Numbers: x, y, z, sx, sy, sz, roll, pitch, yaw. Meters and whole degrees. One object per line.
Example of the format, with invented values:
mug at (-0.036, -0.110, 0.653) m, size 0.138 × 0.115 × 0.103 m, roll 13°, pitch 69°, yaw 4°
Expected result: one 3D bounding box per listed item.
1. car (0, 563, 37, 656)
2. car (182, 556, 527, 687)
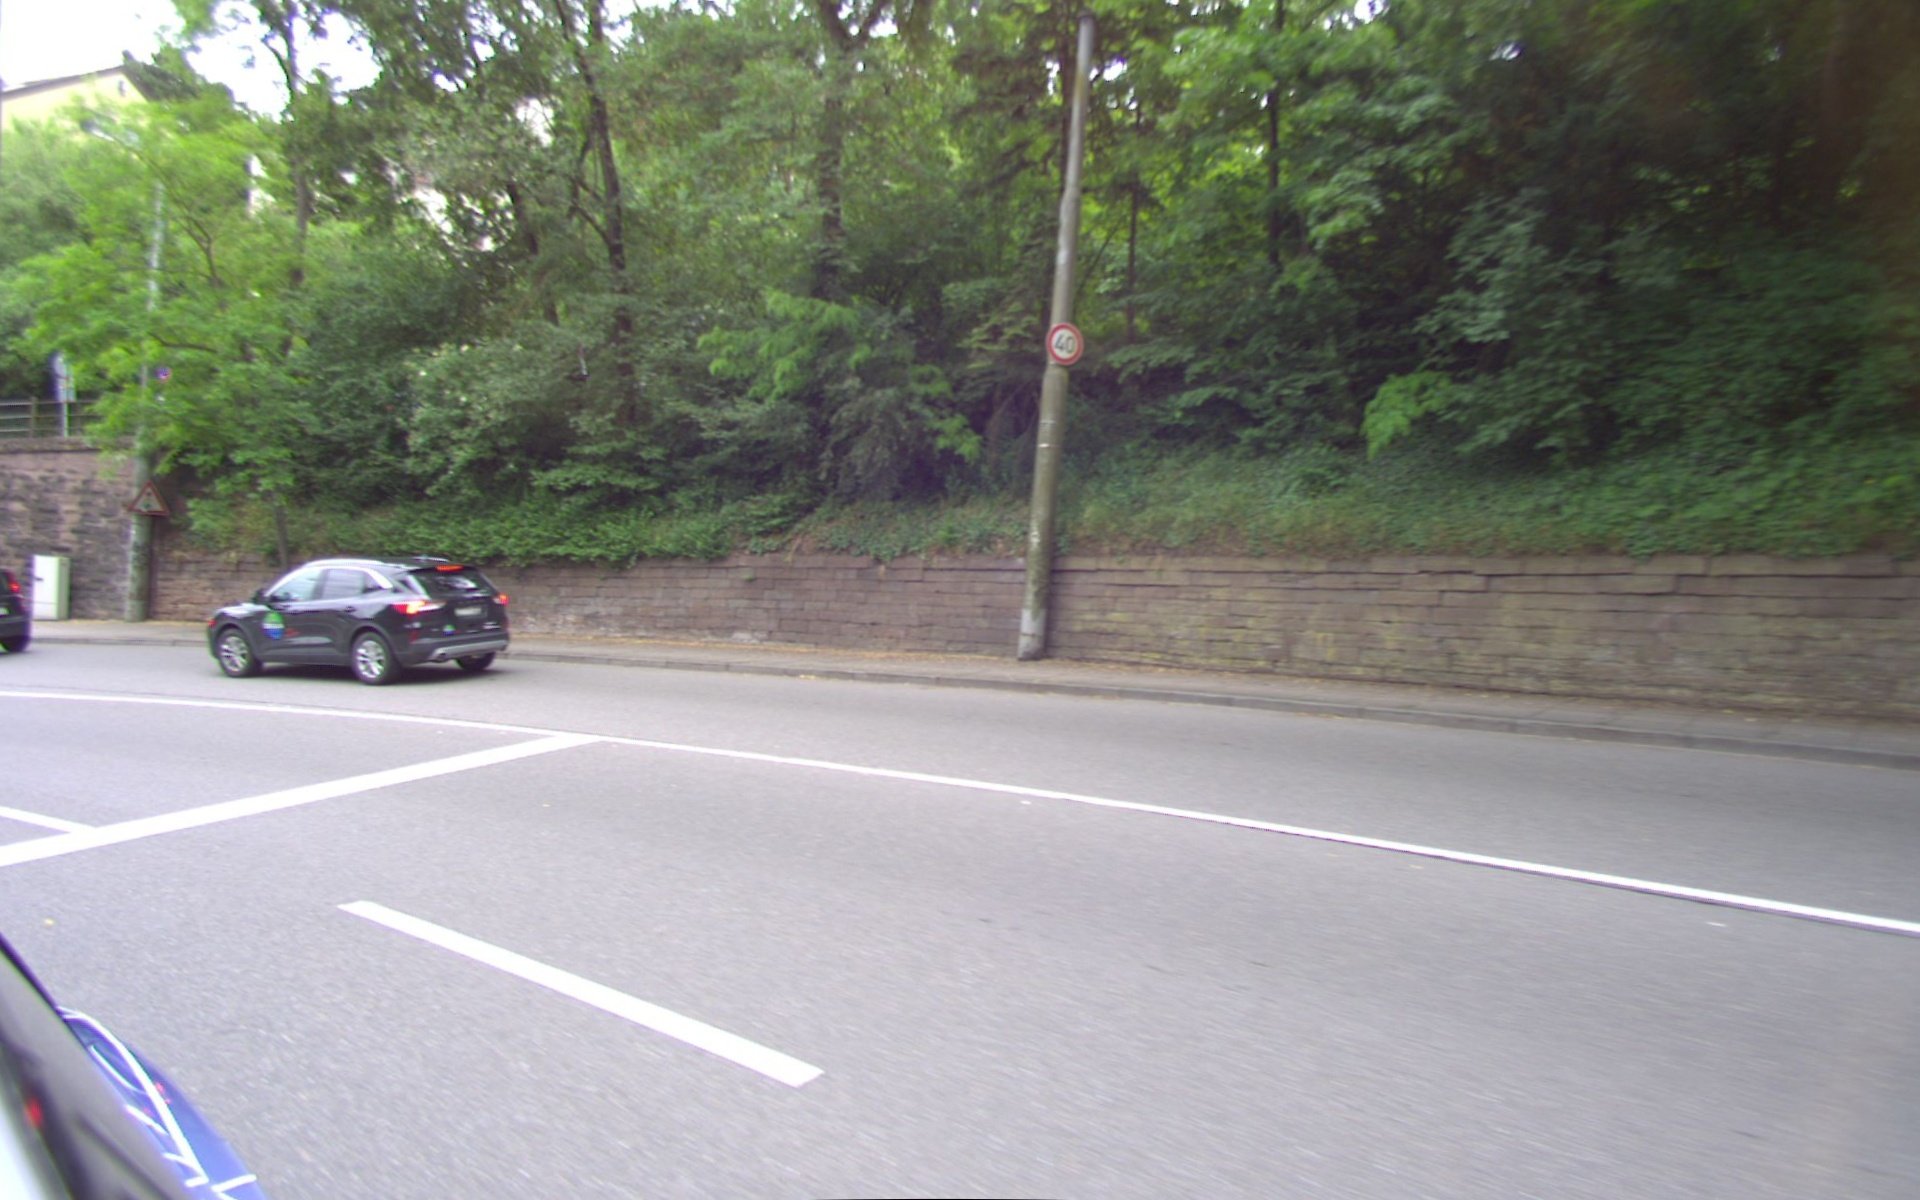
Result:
car at (-17.723, 0.201, 16.787) m, size 3.615 × 1.536 × 1.508 m, roll -1°, pitch 3°, yaw 6°
car at (-8.544, 0.240, 14.262) m, size 4.618 × 1.636 × 1.747 m, roll 0°, pitch 2°, yaw 22°
